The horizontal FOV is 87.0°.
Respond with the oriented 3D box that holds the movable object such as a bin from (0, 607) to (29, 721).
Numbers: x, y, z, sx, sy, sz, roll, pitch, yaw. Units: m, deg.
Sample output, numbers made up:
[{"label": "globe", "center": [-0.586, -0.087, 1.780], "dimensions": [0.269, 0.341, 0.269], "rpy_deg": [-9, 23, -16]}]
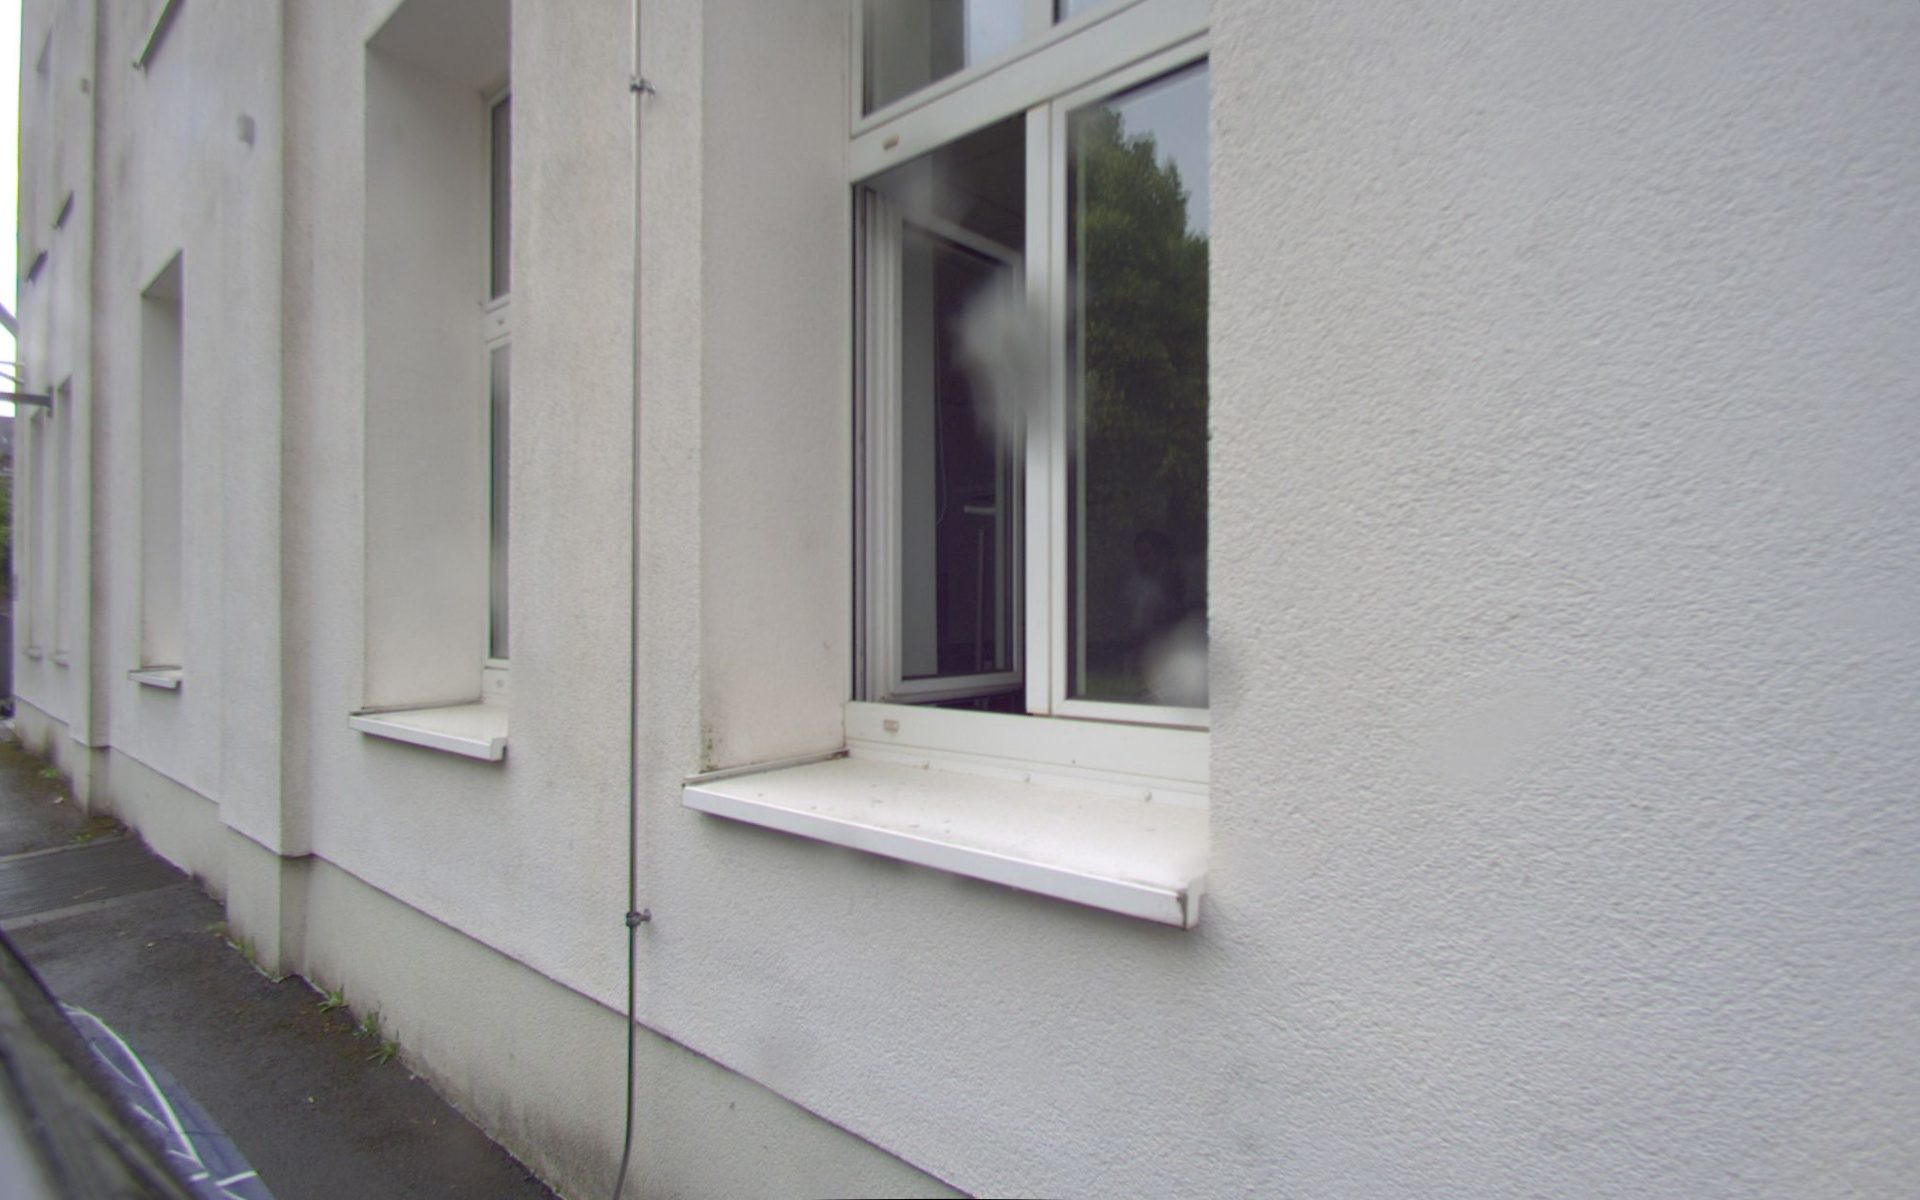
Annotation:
[{"label": "movable object such as a bin", "center": [-13.410, 0.837, 13.496], "dimensions": [1.592, 1.494, 1.154], "rpy_deg": [-1, -2, 37]}]
